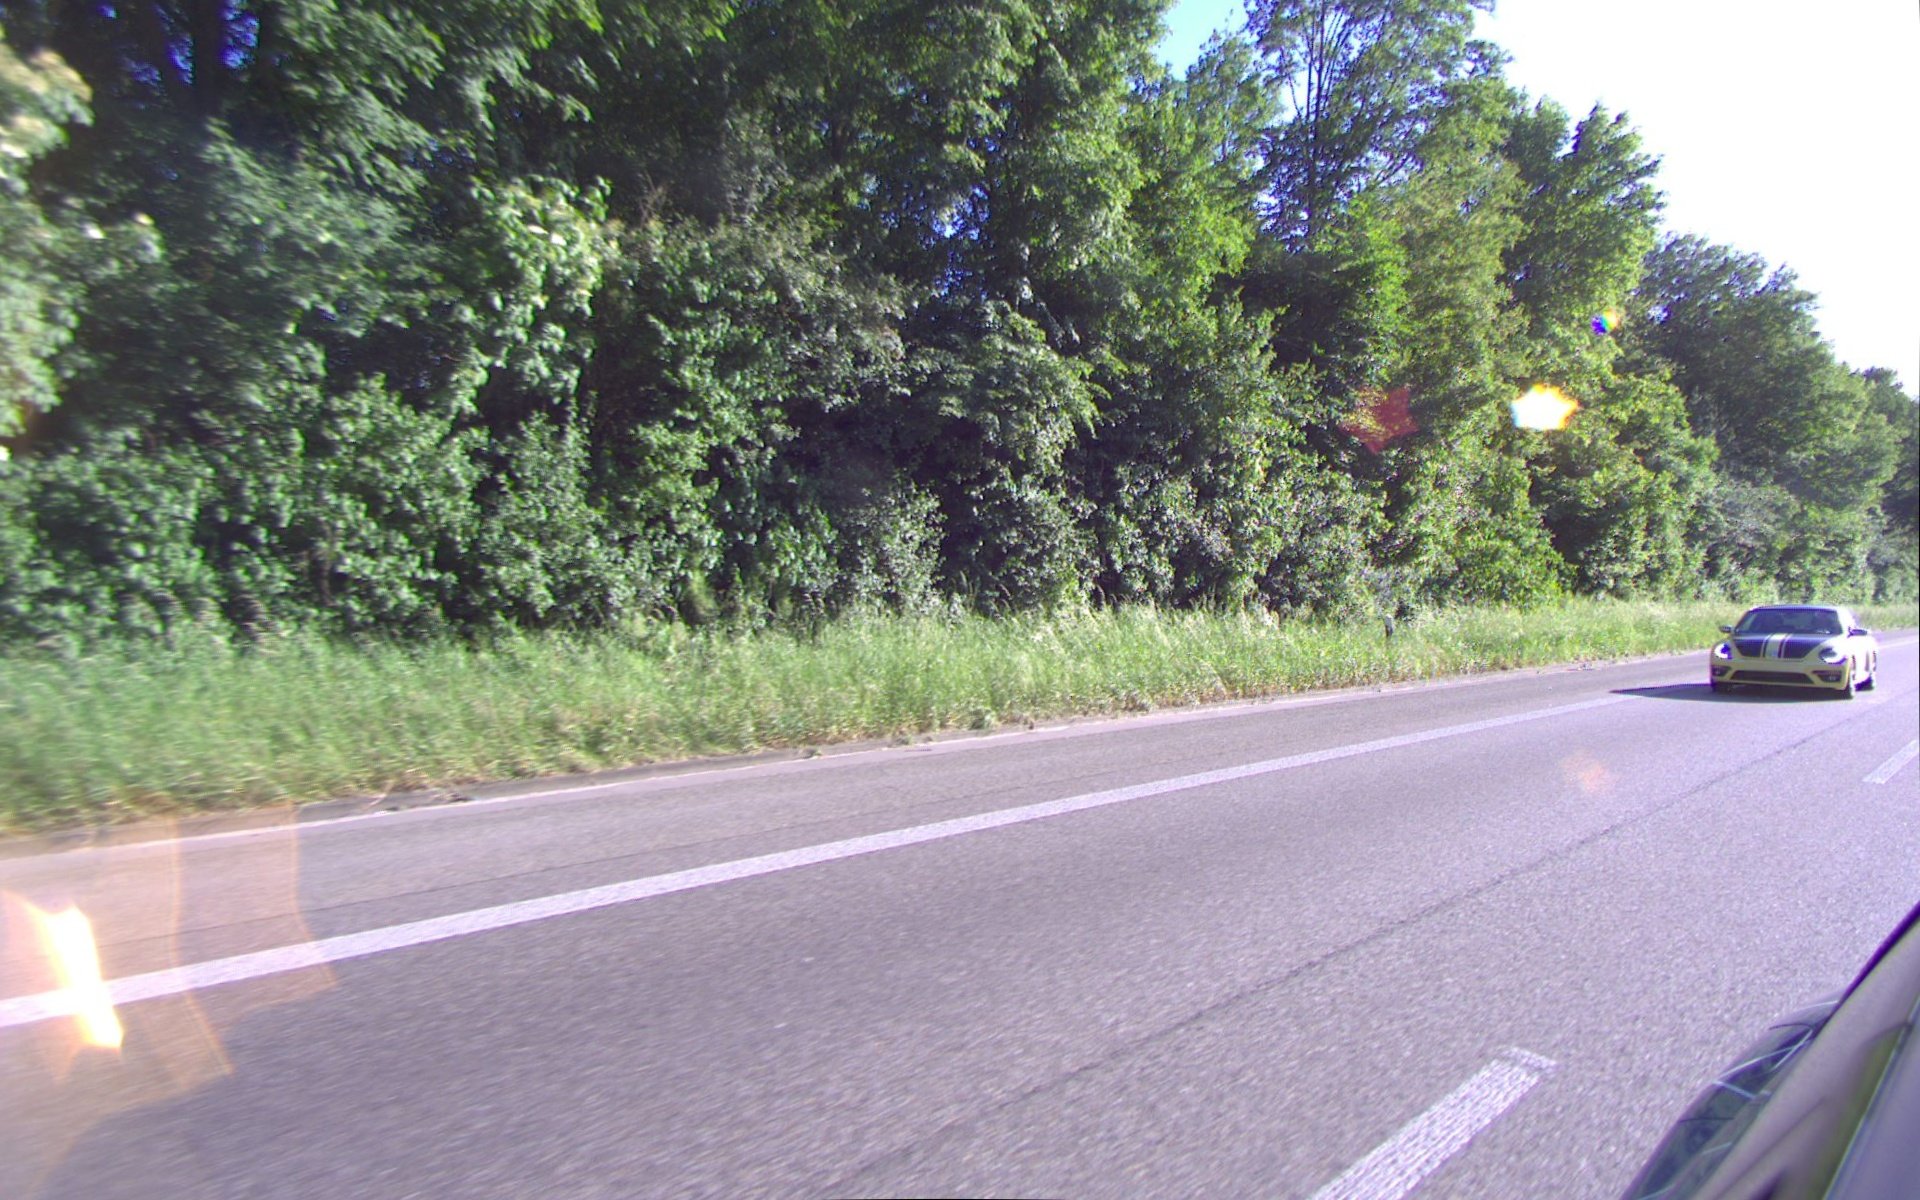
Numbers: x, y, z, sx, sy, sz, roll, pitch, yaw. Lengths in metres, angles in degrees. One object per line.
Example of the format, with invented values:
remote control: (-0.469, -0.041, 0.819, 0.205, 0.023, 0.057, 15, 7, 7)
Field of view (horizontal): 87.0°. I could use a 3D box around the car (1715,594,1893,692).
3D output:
car: (14.311, 0.644, 17.103, 3.811, 1.467, 1.792, 0, 0, -42)
